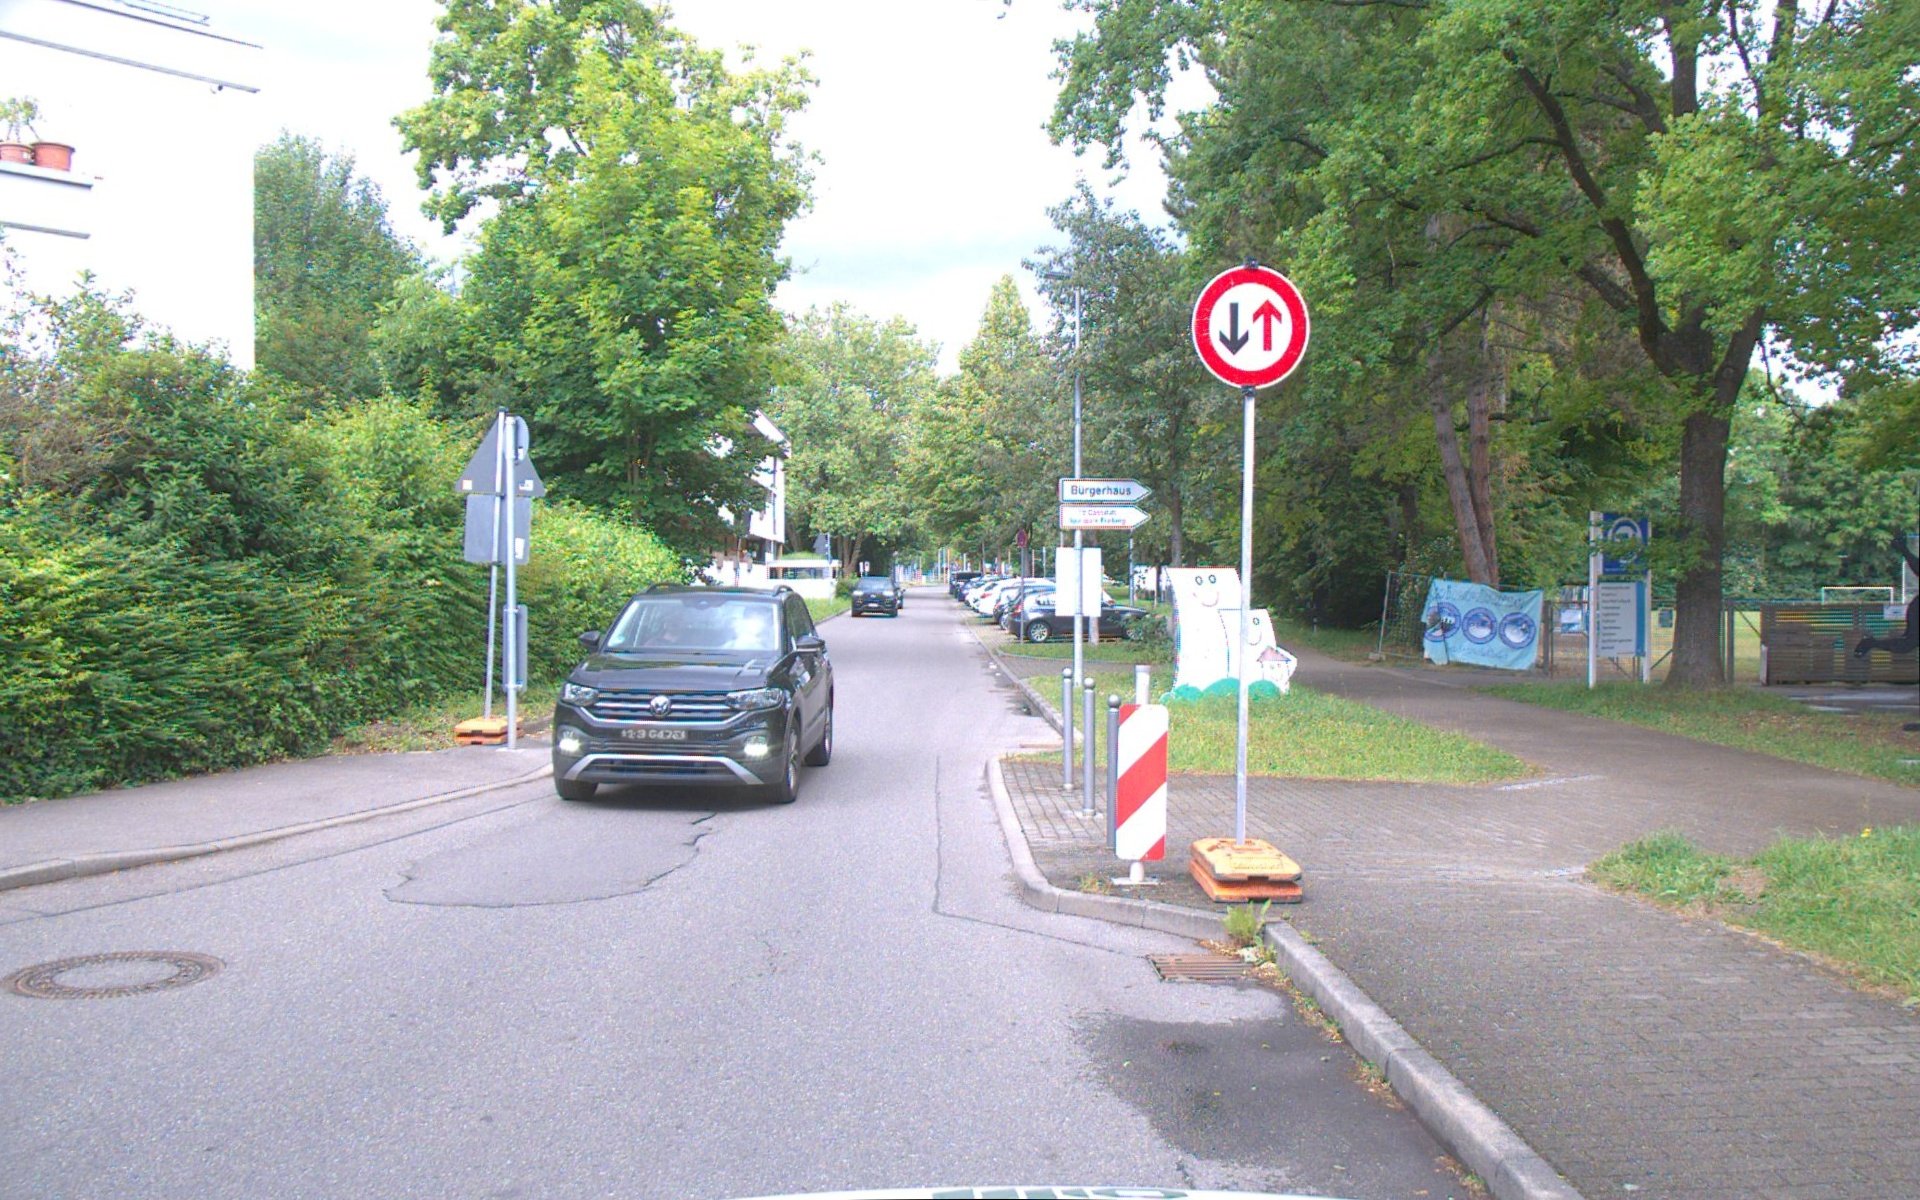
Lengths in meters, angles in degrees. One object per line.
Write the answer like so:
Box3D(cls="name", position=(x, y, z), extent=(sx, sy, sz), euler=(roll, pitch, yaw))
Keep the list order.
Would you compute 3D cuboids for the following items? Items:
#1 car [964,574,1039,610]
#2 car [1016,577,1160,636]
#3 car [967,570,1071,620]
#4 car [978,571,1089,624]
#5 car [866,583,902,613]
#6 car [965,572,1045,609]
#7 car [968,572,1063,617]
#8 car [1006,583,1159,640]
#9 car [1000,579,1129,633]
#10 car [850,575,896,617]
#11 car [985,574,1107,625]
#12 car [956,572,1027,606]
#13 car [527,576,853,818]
Box3D(cls="car", position=(2.320, -0.459, 92.635), extent=(3.984, 1.716, 1.821), euler=(-4, 1, -5))
Box3D(cls="car", position=(3.692, 0.210, 48.205), extent=(3.981, 1.596, 1.821), euler=(-1, -1, -2))
Box3D(cls="car", position=(2.363, -0.214, 67.025), extent=(3.984, 1.716, 1.821), euler=(-4, 1, -5))
Box3D(cls="car", position=(2.779, -0.108, 63.105), extent=(3.984, 1.716, 1.821), euler=(-4, 1, -5))
Box3D(cls="car", position=(-4.154, -0.137, 91.129), extent=(1.929, 1.603, 4.337), euler=(0, 0, -2))
Box3D(cls="car", position=(2.346, -0.506, 86.698), extent=(3.984, 1.716, 1.821), euler=(-4, 1, -5))
Box3D(cls="car", position=(2.464, -0.246, 73.677), extent=(3.984, 1.716, 1.821), euler=(-4, 1, -5))
Box3D(cls="car", position=(3.317, 0.325, 45.469), extent=(3.981, 1.459, 1.999), euler=(-1, -1, -2))
Box3D(cls="car", position=(3.320, 0.172, 53.117), extent=(3.981, 1.595, 1.822), euler=(-1, 1, -2))
Box3D(cls="car", position=(-3.864, -0.193, 74.001), extent=(1.929, 1.778, 4.337), euler=(0, 0, -2))
Box3D(cls="car", position=(2.992, -0.018, 57.934), extent=(3.984, 1.514, 1.821), euler=(-4, 1, -5))
Box3D(cls="car", position=(1.846, -0.658, 97.492), extent=(3.984, 1.716, 1.821), euler=(-4, 1, -5))
Box3D(cls="car", position=(-1.967, 0.637, 13.330), extent=(1.765, 1.619, 4.297), euler=(0, 0, 2))
